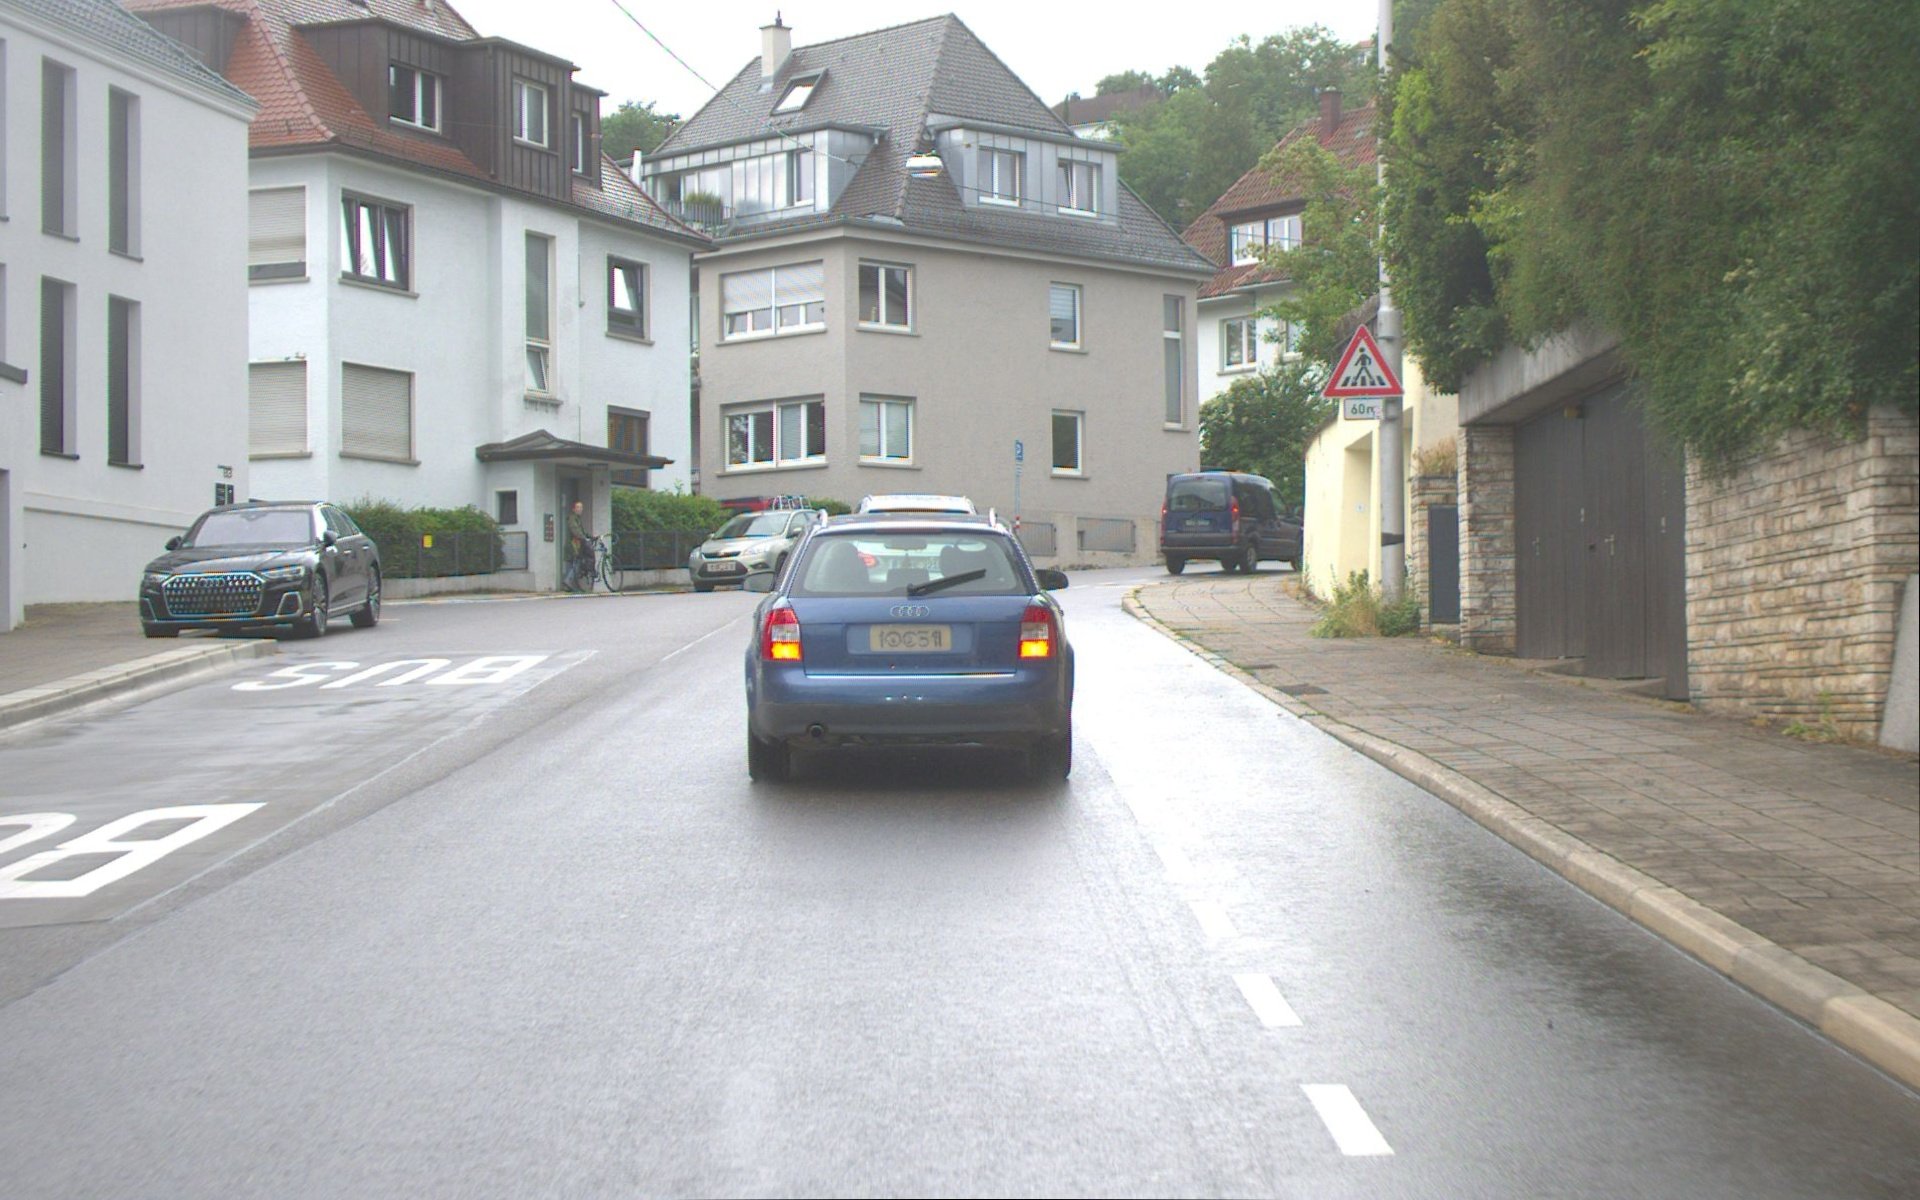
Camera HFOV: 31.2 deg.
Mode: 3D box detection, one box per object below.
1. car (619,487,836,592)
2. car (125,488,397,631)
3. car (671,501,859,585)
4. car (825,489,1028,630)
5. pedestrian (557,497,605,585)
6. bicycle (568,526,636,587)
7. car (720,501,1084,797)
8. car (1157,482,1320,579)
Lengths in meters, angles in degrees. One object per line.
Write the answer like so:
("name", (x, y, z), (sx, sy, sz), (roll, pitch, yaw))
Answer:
("car", (-4.940, -1.282, 73.043), (3.992, 1.816, 1.997), (-6, -1, 28))
("car", (-7.786, -0.479, 38.772), (1.829, 1.480, 4.991), (-1, 1, 2))
("car", (-3.590, -1.078, 64.020), (1.838, 1.420, 4.225), (-2, 1, 22))
("car", (-0.406, -0.412, 35.870), (1.811, 1.356, 4.001), (1, 0, -5))
("pedestrian", (-6.880, -1.069, 62.383), (0.493, 1.572, 0.947), (0, 2, 18))
("bicycle", (-6.454, -0.791, 62.125), (0.456, 1.063, 1.920), (0, 2, 18))
("car", (-0.290, 0.190, 19.373), (1.811, 1.434, 4.082), (1, 2, 0))
("car", (5.174, -1.286, 63.342), (1.930, 1.700, 3.996), (1, 1, 21))
